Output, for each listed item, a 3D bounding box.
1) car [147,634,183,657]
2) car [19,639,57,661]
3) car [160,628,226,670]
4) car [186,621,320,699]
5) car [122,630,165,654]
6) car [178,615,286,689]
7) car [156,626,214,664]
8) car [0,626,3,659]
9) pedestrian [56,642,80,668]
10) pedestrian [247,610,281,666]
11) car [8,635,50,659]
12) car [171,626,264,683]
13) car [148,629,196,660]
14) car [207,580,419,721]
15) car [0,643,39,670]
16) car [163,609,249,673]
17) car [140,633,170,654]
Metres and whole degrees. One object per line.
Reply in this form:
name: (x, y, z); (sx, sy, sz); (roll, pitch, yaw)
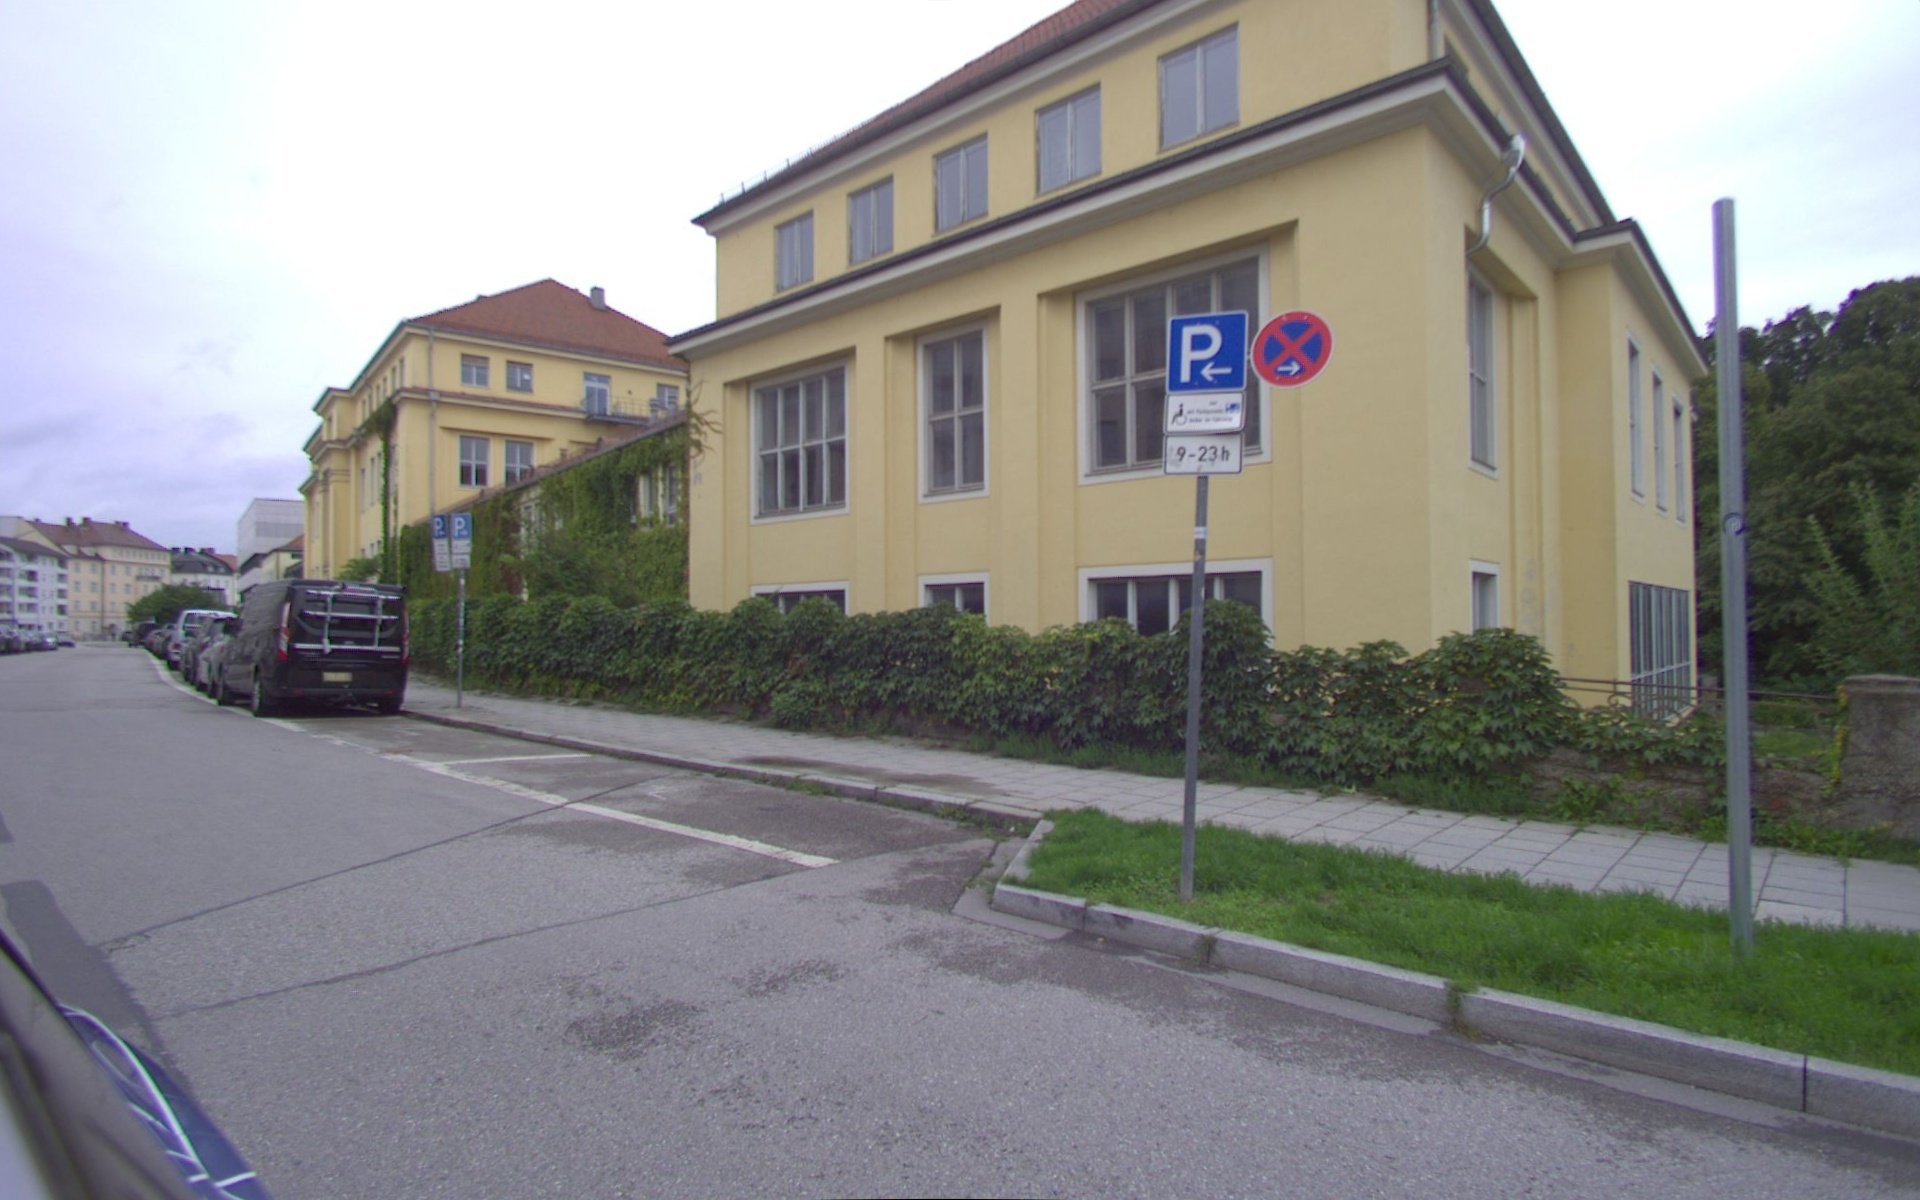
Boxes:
car: (-52.478, 3.021, 66.770); (1.712, 1.450, 3.786); (5, -5, -39)
car: (-73.428, 3.949, 80.664); (1.971, 1.584, 4.499); (-2, -1, -39)
car: (-28.125, 1.815, 37.087); (1.646, 1.420, 3.564); (5, -5, -40)
car: (-14.352, 1.214, 20.465); (1.686, 1.376, 4.007); (7, -6, -41)
car: (-88.059, 4.545, 109.104); (6.896, 2.571, 2.807); (-3, -4, 45)
car: (-17.722, 1.261, 24.544); (1.681, 1.619, 4.498); (5, -5, -40)
car: (-33.930, 1.977, 44.278); (1.696, 1.492, 4.226); (7, -6, -40)
car: (-43.803, 1.921, 44.815); (1.850, 1.459, 4.707); (-1, -2, -40)
pedestrian: (-102.504, 6.349, 116.288); (1.900, 2.973, 2.028); (2, -4, -39)
pedestrian: (-22.636, 1.236, 32.913); (0.832, 1.768, 0.874); (1, -3, -39)
car: (-63.438, 3.184, 68.989); (1.698, 1.477, 4.201); (-2, -1, -38)
car: (-21.128, 1.529, 28.727); (1.781, 1.388, 4.499); (7, -6, -39)
car: (-44.645, 2.529, 57.329); (1.760, 1.653, 4.305); (6, -6, -41)
car: (-10.726, 0.843, 16.620); (1.903, 1.994, 4.625); (6, -6, -44)
car: (-59.206, 3.538, 63.526); (1.742, 1.552, 4.007); (-2, -1, -39)
car: (-24.490, 1.358, 32.792); (1.869, 1.812, 4.889); (7, -6, -39)
car: (-64.529, 3.497, 81.133); (1.747, 1.566, 4.217); (5, -5, -39)
